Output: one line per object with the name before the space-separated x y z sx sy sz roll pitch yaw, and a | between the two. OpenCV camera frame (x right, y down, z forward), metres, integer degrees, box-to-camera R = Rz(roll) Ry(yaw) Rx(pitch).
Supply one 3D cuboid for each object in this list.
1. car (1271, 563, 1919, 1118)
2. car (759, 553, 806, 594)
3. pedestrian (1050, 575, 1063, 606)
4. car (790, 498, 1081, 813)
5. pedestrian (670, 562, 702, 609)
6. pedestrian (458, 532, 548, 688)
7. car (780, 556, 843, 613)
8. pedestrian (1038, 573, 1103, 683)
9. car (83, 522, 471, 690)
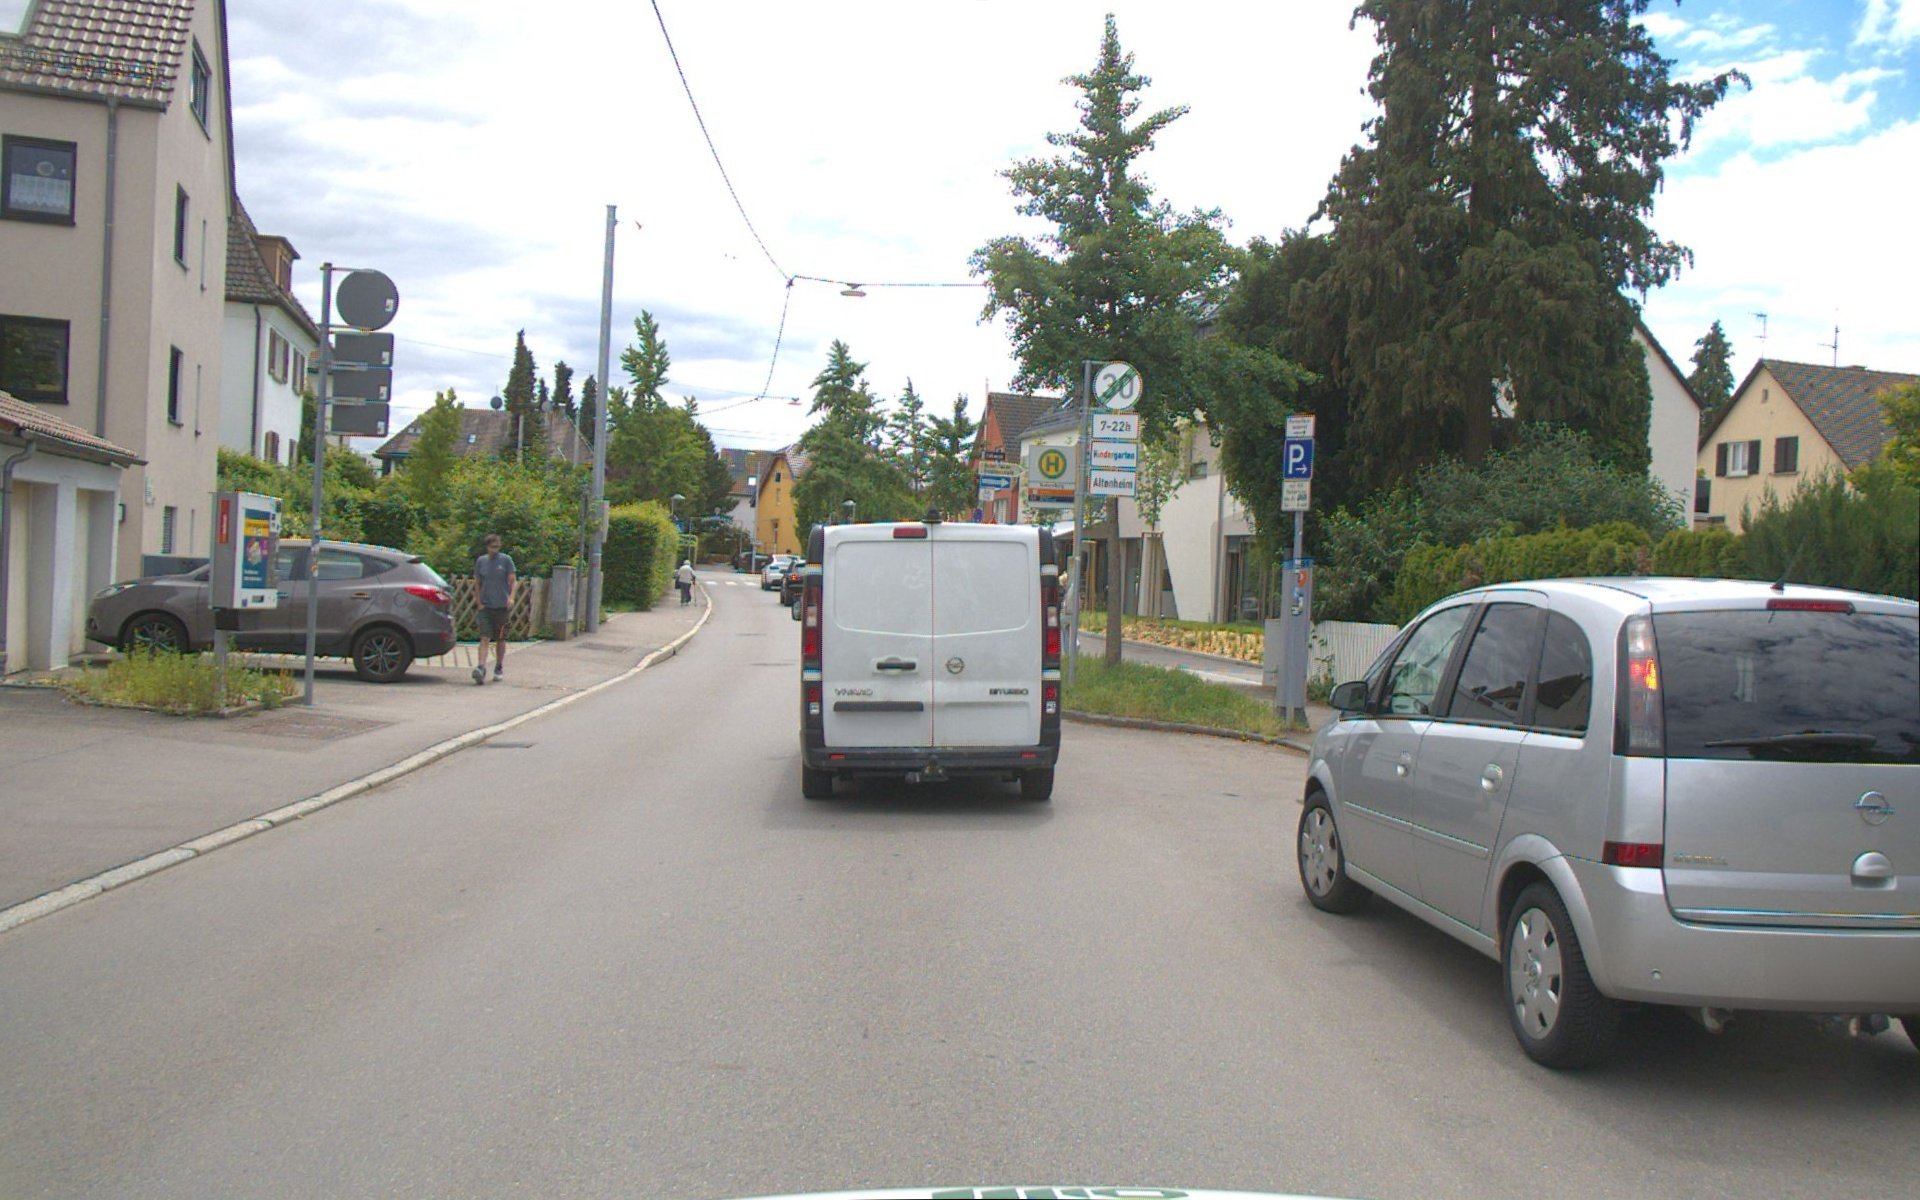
car | 2.659 0.696 6.869 1.724 1.610 4.015 1 0 -4
car | -8.250 -1.218 76.672 1.956 1.813 3.992 1 1 -9
pedestrian | 3.909 -0.380 66.707 0.413 1.202 0.323 2 0 -11
car | -0.354 0.365 13.172 1.878 2.037 4.433 2 0 -5
pedestrian | -9.225 -0.477 55.686 0.866 1.510 0.451 4 0 -29
pedestrian | -6.070 0.128 22.041 0.718 1.979 1.217 4 0 0
car | -5.318 -0.563 58.814 1.956 1.880 3.992 1 1 -9
pedestrian | 1.774 0.441 26.648 0.837 1.673 0.883 4 0 -3
car | -8.514 0.081 21.032 4.241 1.725 1.791 4 0 -16
